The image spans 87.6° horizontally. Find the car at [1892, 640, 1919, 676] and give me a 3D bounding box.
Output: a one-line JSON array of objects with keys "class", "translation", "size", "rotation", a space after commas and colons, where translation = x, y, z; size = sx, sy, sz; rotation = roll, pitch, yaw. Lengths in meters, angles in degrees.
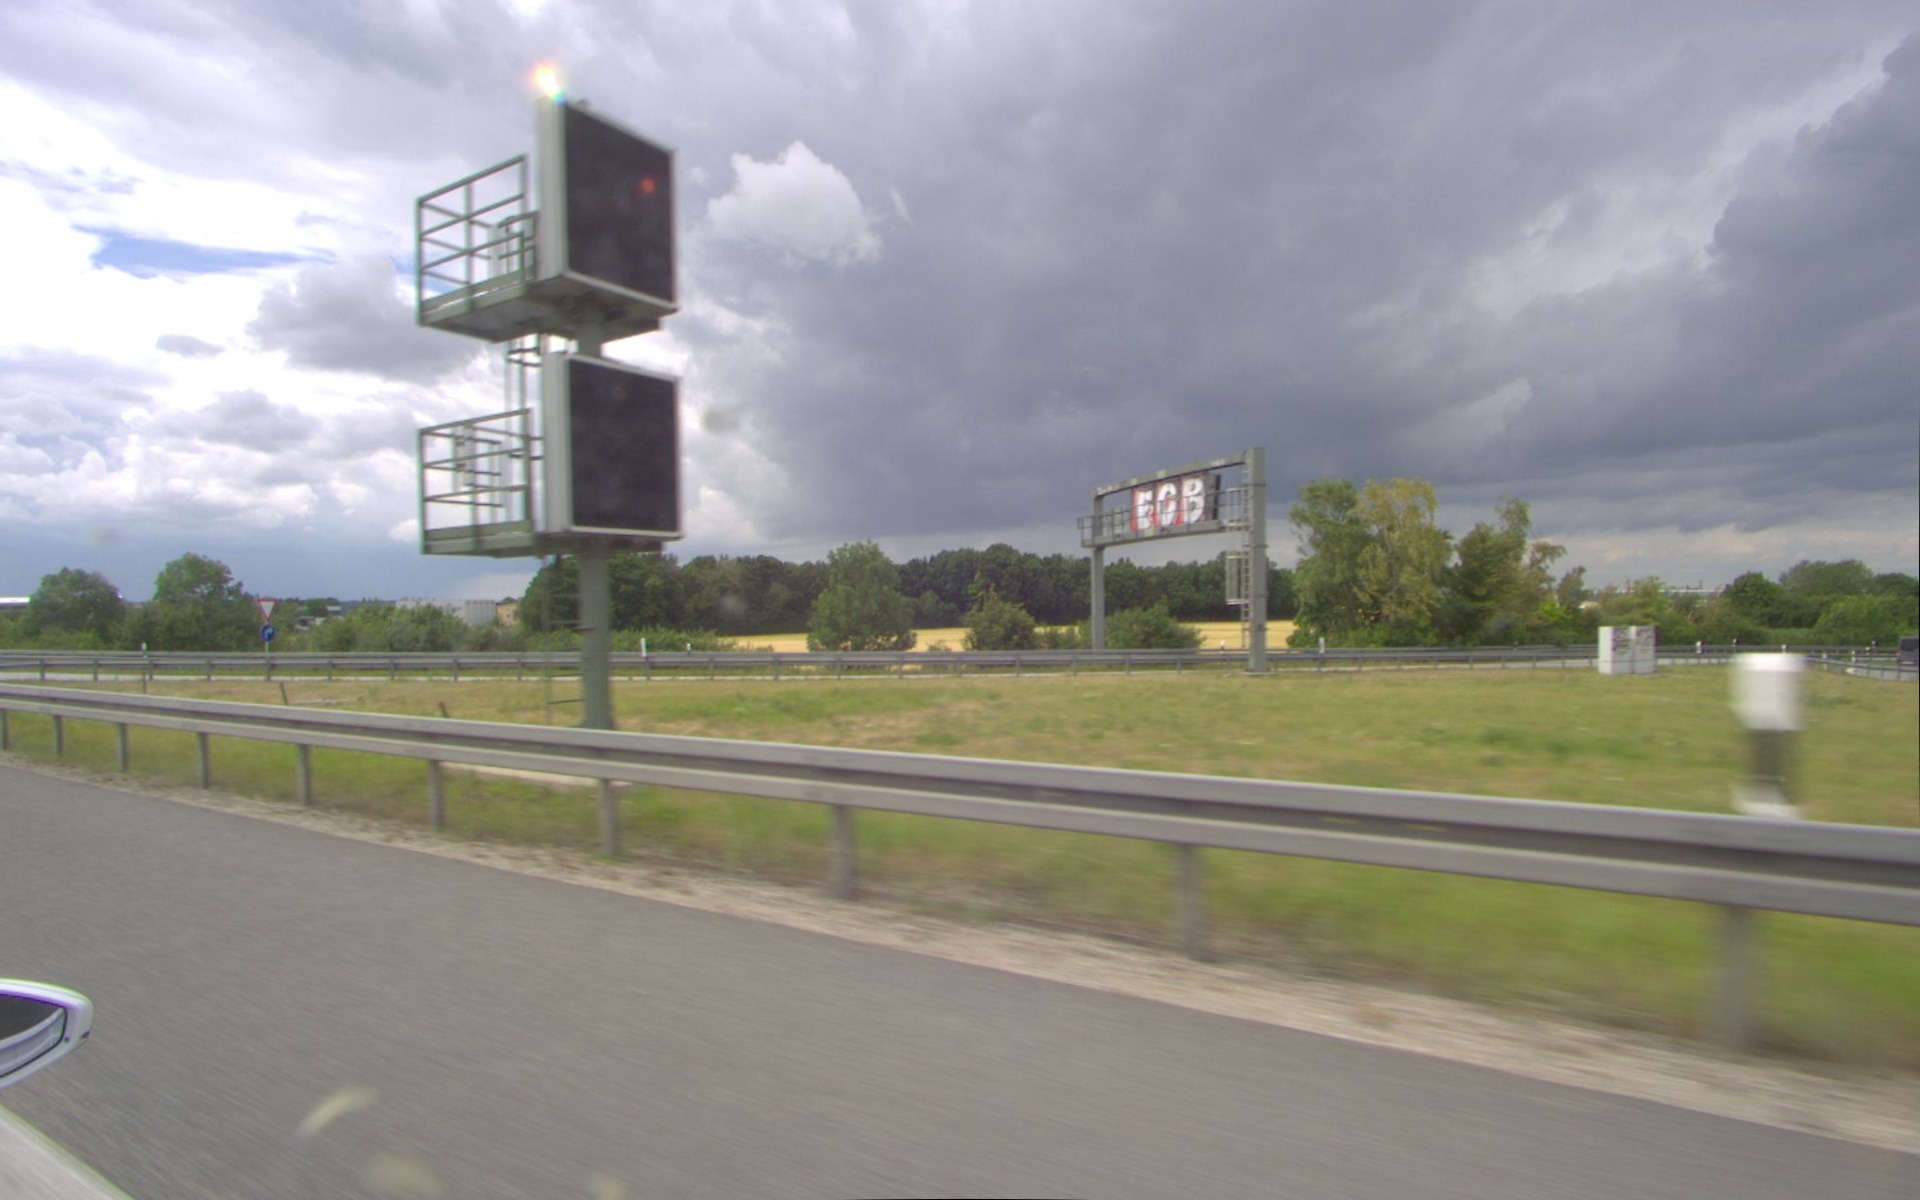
[{"class": "car", "translation": [62.322, 3.763, 65.290], "size": [1.889, 2.291, 4.617], "rotation": [1, -1, 38]}]
